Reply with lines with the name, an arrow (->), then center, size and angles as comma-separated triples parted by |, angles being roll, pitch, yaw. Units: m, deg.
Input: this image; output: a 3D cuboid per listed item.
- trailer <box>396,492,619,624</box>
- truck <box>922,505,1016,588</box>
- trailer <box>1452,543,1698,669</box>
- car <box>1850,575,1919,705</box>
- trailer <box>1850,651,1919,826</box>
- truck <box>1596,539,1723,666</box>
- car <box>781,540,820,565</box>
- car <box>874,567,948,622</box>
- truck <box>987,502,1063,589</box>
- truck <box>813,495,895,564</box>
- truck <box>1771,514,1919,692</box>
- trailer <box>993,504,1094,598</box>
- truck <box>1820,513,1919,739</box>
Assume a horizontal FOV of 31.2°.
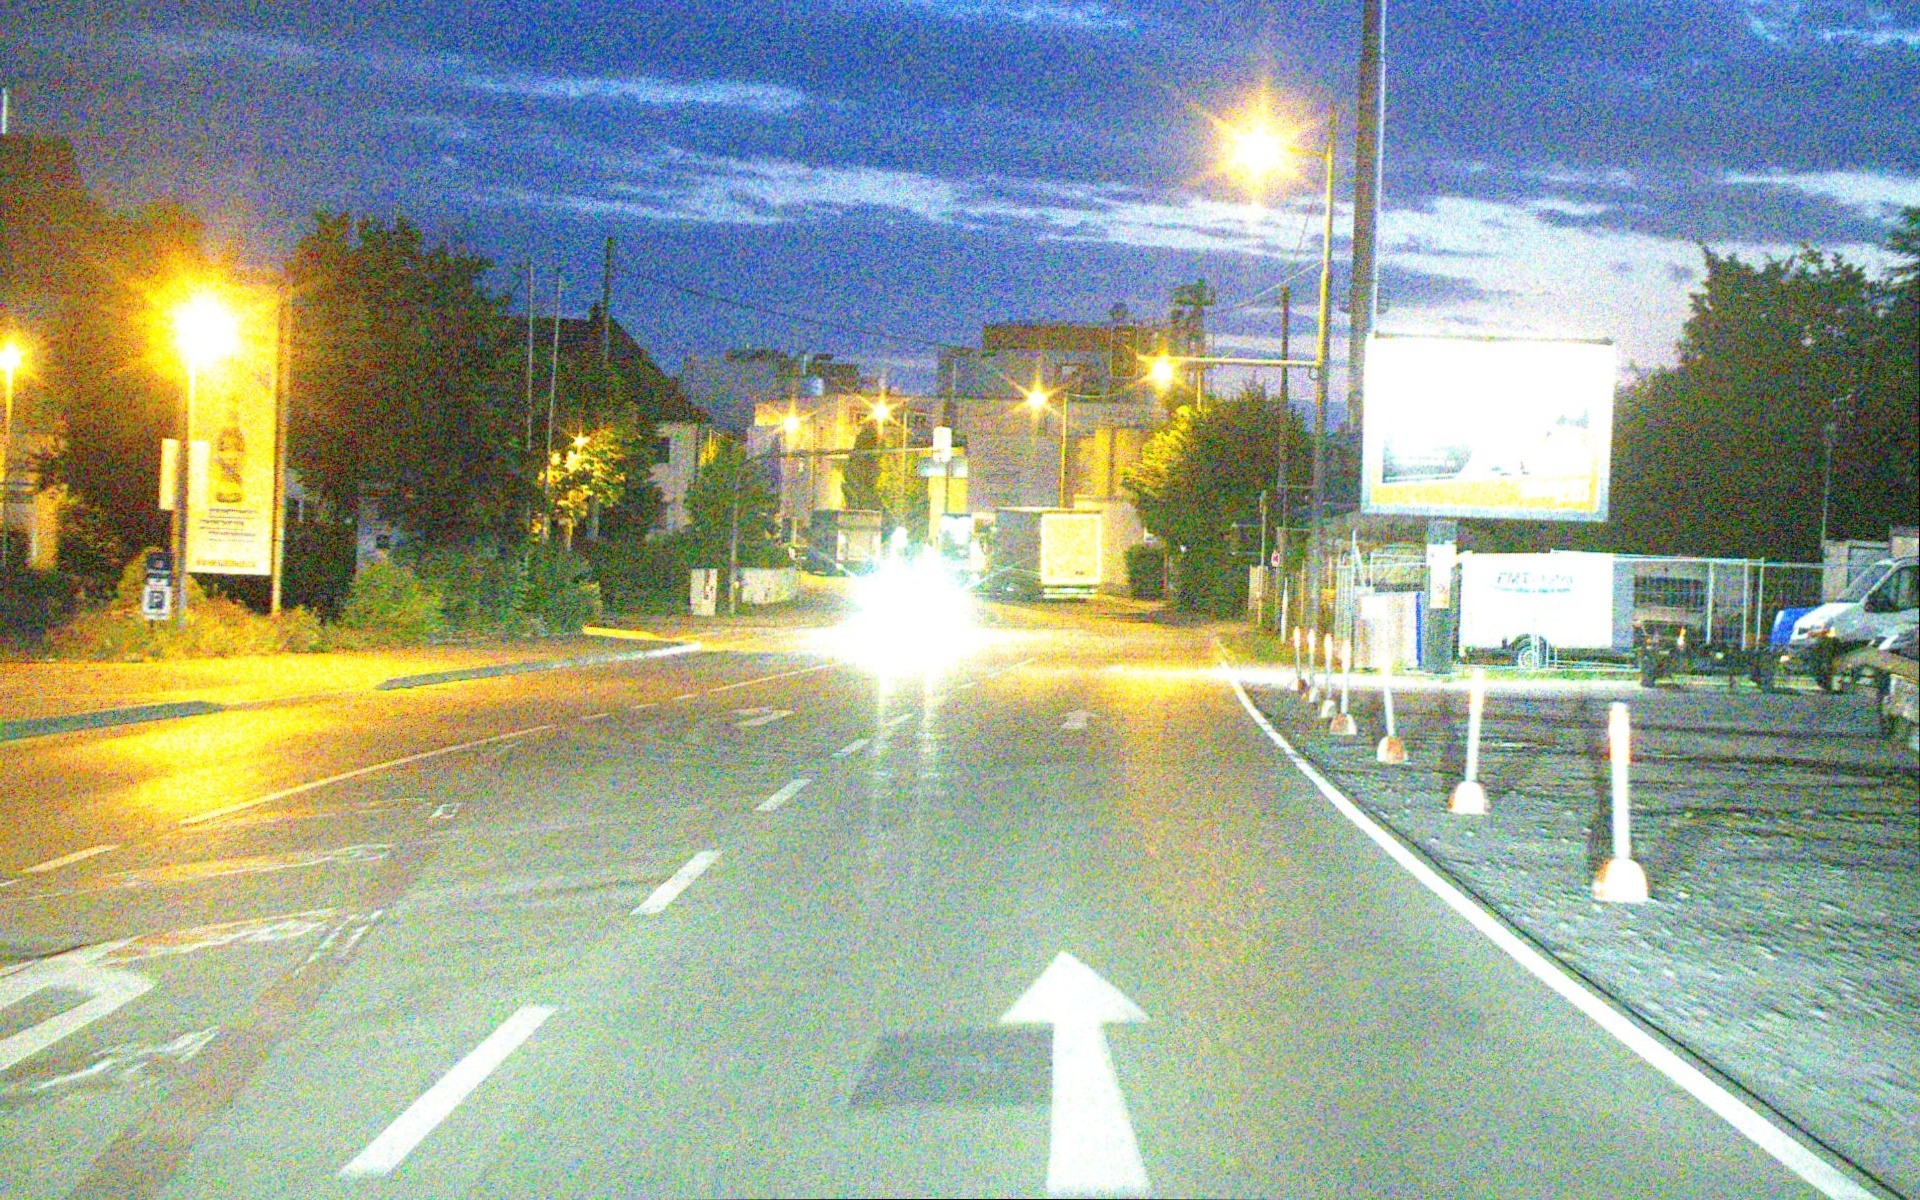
trailer -> -9.488, -0.894, 72.258 | 4.348, 2.710, 2.000 | 1, 1, 3
truck -> 0.385, -2.679, 170.817 | 2.829, 3.969, 10.345 | 0, 1, -10
trailer -> 10.252, 0.074, 57.325 | 3.752, 2.007, 1.612 | 1, 1, 24
car -> 15.690, 0.640, 49.875 | 5.074, 1.830, 1.989 | 2, 0, 6
trailer -> 6.578, 0.964, 17.706 | 2.174, 0.963, 9.615 | 4, 1, 4
truck -> 16.353, 0.029, 80.690 | 2.184, 2.739, 7.314 | 3, 1, 7
car -> -10.168, -3.035, 218.761 | 1.852, 1.514, 3.819 | 0, 1, -13
car -> -1.506, -0.182, 107.616 | 1.994, 1.621, 4.752 | 2, 0, 2
truck -> 2.979, -2.549, 160.090 | 2.829, 3.969, 6.051 | 0, 1, -6
truck -> -6.345, -4.185, 203.752 | 3.519, 3.969, 10.345 | 0, 1, -9
truck -> 15.462, 0.106, 52.479 | 5.530, 2.591, 2.472 | 2, 1, 2
trailer -> 3.622, -2.241, 153.647 | 2.808, 3.969, 13.978 | 0, 1, -5
truck -> 10.926, 0.295, 35.388 | 2.377, 2.276, 7.744 | 2, 1, 2
